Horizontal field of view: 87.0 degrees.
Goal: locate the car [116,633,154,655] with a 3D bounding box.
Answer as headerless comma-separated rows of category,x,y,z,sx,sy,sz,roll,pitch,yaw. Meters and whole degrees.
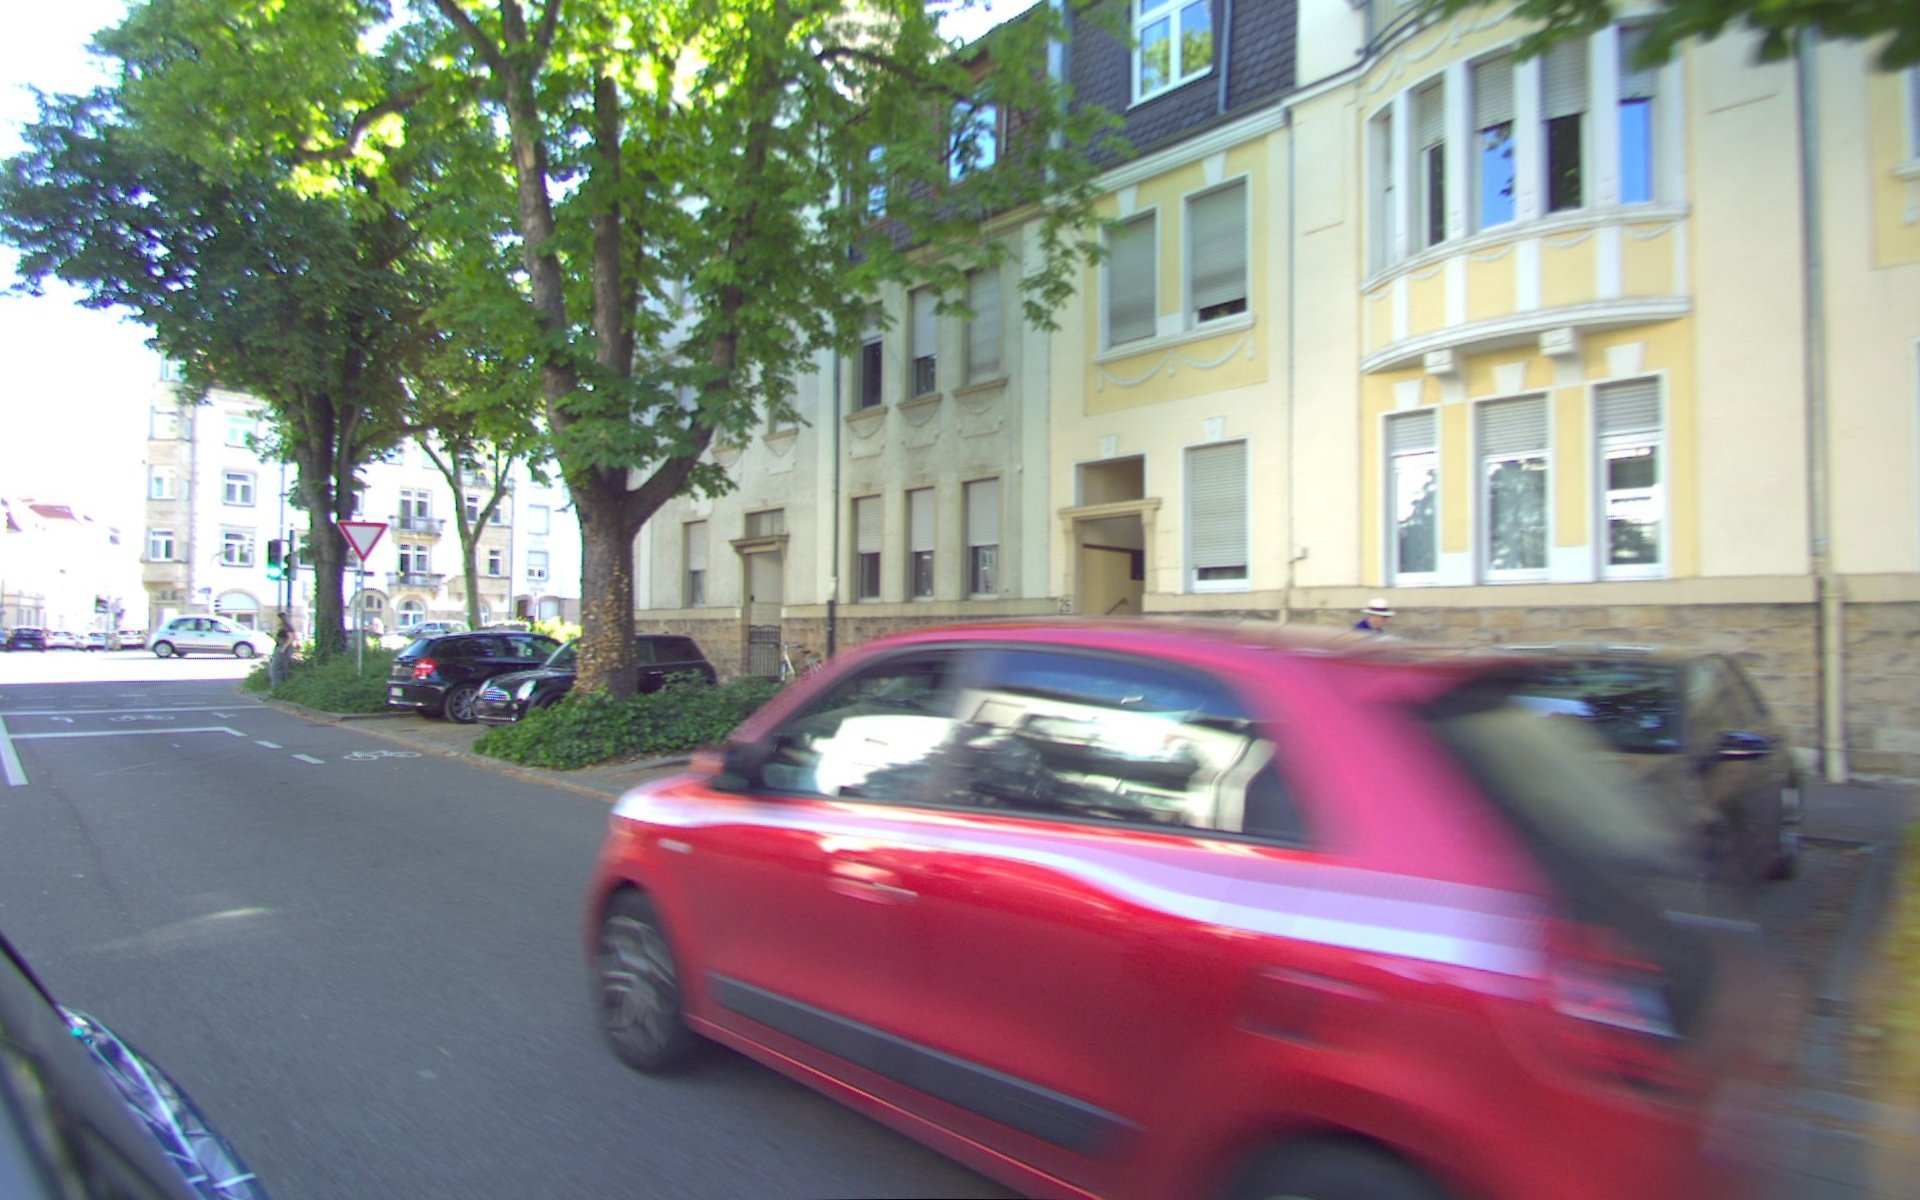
car,-66.775,3.562,81.959,1.887,1.671,4.358,-2,-1,-33

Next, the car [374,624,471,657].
car,-28.875,2.200,54.435,2.000,1.657,4.179,-4,-5,44

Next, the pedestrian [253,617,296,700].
pedestrian,-14.284,1.206,21.085,0.684,1.695,0.682,2,-3,-35

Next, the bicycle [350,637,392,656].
bicycle,-29.092,2.283,49.983,0.795,0.932,1.613,-3,-4,44

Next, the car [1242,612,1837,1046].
car,3.370,0.834,5.520,3.940,1.494,1.787,1,-2,-44

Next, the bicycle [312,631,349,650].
bicycle,-38.435,2.490,61.834,0.610,1.142,1.785,-3,-4,42

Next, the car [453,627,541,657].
car,-24.984,2.265,54.671,1.766,1.541,3.962,-2,-4,44

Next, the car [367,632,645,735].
car,-7.391,1.324,16.730,1.616,1.487,3.838,-1,-4,44

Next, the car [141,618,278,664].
car,-26.881,1.481,36.373,3.554,1.580,1.658,1,-3,-17

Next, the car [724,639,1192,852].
car,0.195,1.058,8.908,1.704,1.359,4.164,-1,-2,44

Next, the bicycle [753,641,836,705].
bicycle,-3.266,1.409,19.825,0.508,1.163,1.983,-1,-2,-45

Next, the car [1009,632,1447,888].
car,2.160,0.991,7.722,3.392,1.463,1.705,1,-2,-43

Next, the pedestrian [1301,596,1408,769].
pedestrian,3.978,0.809,10.252,0.454,1.671,0.896,2,-3,-37

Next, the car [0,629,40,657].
car,-52.069,2.351,55.902,1.641,1.475,3.811,3,-3,-44

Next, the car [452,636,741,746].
car,-5.344,1.270,15.288,1.613,1.426,3.844,-1,-3,38

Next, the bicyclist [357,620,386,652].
bicyclist,-29.094,1.766,50.021,0.687,1.554,1.059,-2,-3,44

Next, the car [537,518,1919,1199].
car,0.338,0.745,3.048,3.704,1.520,1.622,-2,-4,44
